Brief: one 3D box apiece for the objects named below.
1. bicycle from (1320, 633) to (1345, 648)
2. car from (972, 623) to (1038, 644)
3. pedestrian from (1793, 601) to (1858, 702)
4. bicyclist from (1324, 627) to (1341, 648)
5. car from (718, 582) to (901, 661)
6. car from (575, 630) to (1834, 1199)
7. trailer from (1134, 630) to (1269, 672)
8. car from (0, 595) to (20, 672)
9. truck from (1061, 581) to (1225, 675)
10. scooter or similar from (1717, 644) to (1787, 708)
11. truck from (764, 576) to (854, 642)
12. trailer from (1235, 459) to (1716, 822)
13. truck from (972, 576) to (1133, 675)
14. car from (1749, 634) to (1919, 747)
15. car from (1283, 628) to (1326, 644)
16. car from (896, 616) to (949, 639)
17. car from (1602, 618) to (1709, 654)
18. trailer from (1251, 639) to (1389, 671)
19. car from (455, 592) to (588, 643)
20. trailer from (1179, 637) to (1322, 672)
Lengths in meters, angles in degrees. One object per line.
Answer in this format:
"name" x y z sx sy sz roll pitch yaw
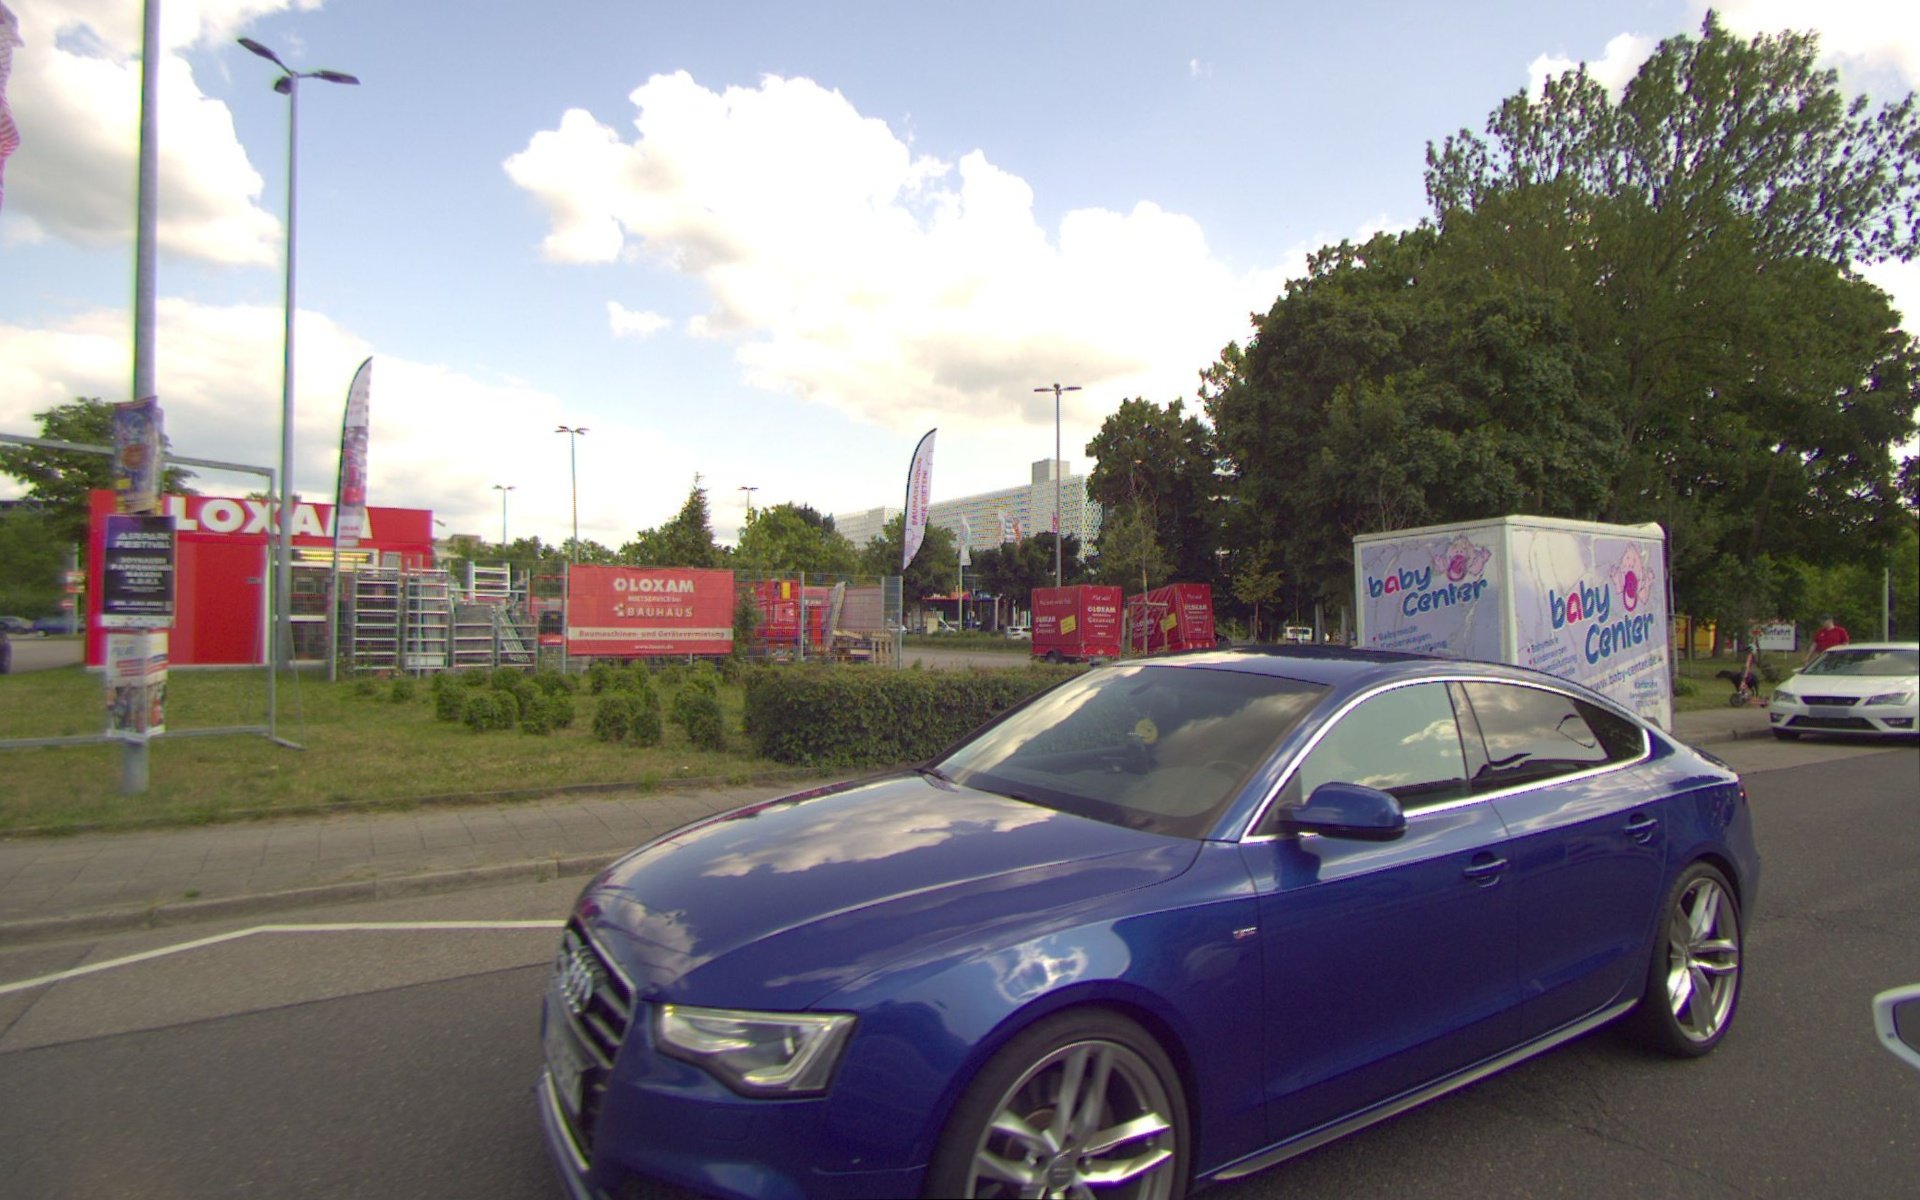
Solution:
"bicycle" 29.955 3.277 80.750 0.723 1.181 1.797 0 -2 -36
"car" 3.229 2.412 72.223 4.362 1.431 1.983 2 -1 -32
"pedestrian" 17.991 1.058 20.875 0.875 2.040 0.805 2 -1 -32
"bicyclist" 29.945 3.026 80.753 0.727 1.669 1.000 0 -2 -36
"car" -5.586 0.869 37.726 6.366 2.627 2.254 4 -2 -31
"car" 1.076 0.827 3.606 4.330 1.395 1.913 1 -1 -31
"trailer" 7.639 1.602 32.086 1.654 1.135 4.210 4 -2 -33
"car" -23.888 0.782 23.413 2.088 1.869 4.516 1 -1 -33
"truck" 5.510 0.843 31.090 1.759 2.627 5.521 3 -2 -30
"scooter or similar" 15.759 1.505 19.992 1.260 1.209 0.516 2 -1 -21
"truck" -10.171 0.646 66.928 2.954 4.000 8.282 3 -2 -30
"trailer" 5.180 0.413 9.967 4.651 2.819 2.128 1 -3 -32
"truck" 2.583 0.751 29.845 1.794 2.627 5.730 3 -2 -29
"car" 13.939 1.304 15.264 4.189 1.498 1.756 1 -4 -33
"car" 38.459 3.975 112.134 4.176 1.706 2.001 1 -1 5
"car" -4.247 3.077 114.195 5.791 2.474 2.212 1 -1 2
"car" 52.662 2.703 76.181 2.182 2.612 6.348 1 -1 -32
"trailer" 12.506 1.902 35.108 2.002 0.924 4.210 4 -2 -33
"car" -24.027 0.996 55.183 6.369 2.447 2.254 4 -2 -32
"trailer" 9.597 1.795 33.456 2.137 0.924 4.210 4 -2 -33
